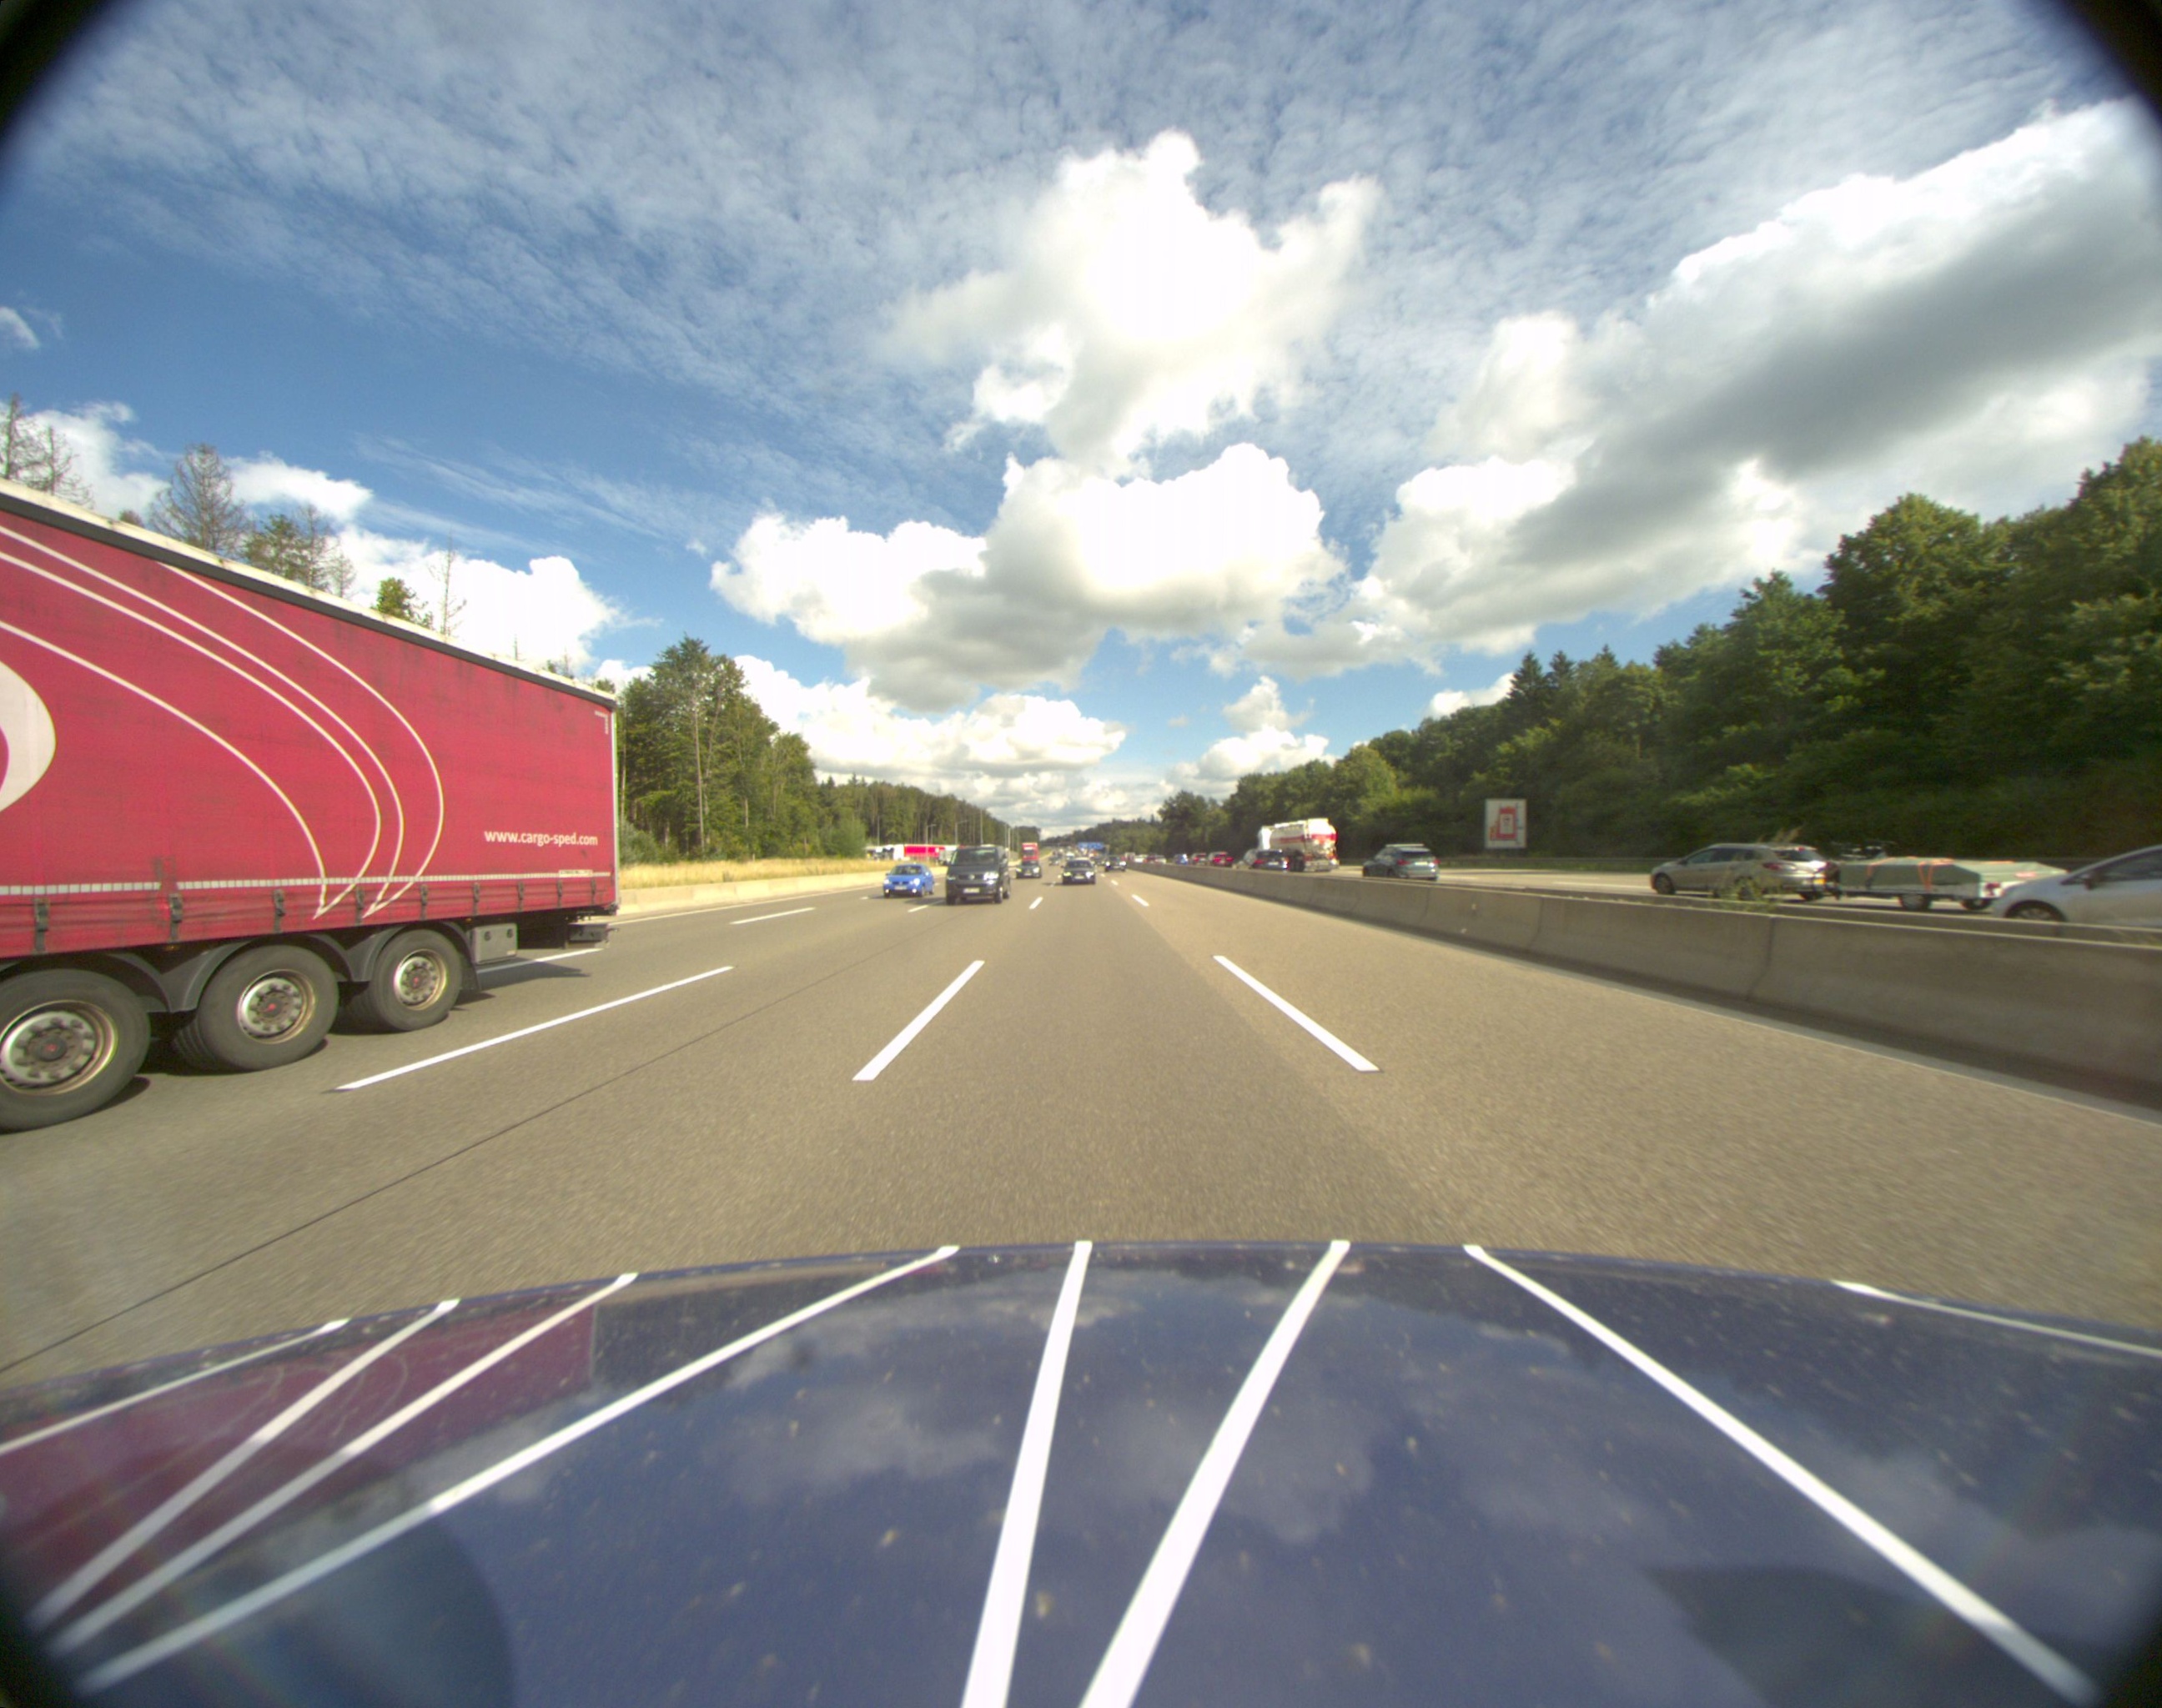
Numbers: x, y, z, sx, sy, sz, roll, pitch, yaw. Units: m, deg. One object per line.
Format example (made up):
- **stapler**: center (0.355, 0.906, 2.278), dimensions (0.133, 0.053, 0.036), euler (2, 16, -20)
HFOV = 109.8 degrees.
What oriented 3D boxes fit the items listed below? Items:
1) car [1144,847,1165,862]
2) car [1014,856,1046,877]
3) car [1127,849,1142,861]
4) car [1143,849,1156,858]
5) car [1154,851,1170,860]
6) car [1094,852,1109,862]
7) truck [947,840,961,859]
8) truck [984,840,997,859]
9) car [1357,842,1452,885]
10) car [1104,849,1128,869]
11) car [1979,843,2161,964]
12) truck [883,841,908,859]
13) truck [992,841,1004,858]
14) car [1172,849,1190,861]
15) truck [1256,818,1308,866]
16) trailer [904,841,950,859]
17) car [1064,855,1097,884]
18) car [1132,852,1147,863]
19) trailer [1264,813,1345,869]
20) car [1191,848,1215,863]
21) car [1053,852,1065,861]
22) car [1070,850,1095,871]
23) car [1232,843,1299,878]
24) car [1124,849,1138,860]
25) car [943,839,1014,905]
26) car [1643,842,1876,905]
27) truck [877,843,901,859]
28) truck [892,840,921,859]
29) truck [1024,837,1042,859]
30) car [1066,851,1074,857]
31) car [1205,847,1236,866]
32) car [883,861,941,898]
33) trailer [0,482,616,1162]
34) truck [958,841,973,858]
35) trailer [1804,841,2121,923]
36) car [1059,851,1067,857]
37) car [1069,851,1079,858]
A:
- **car**: center (9.473, 0.114, 98.313), dimensions (2.177, 1.867, 4.980), euler (0, 0, -1)
- **car**: center (-3.866, 0.924, 58.503), dimensions (2.153, 1.426, 5.098), euler (-2, 0, -1)
- **car**: center (9.085, 0.159, 129.269), dimensions (2.177, 1.790, 4.875), euler (-2, 0, -1)
- **car**: center (13.049, -0.065, 145.576), dimensions (1.999, 1.794, 5.125), euler (0, 0, -1)
- **car**: center (13.020, 0.222, 122.739), dimensions (1.999, 1.476, 5.131), euler (-2, 0, -1)
- **car**: center (3.130, 0.492, 118.248), dimensions (2.153, 1.540, 4.676), euler (-2, 0, -1)
- **truck**: center (-29.197, -1.024, 175.060), dimensions (2.880, 4.480, 7.172), euler (0, 0, -7)
- **truck**: center (-23.157, -1.146, 194.046), dimensions (2.661, 4.896, 6.984), euler (0, 0, -1)
- **car**: center (13.763, 0.365, 32.704), dimensions (1.999, 1.654, 4.686), euler (-2, 0, -1)
- **car**: center (3.362, 0.490, 73.906), dimensions (2.153, 1.800, 5.099), euler (-2, 1, 1)
- **car**: center (13.542, 0.579, 8.794), dimensions (1.607, 1.395, 4.000), euler (-2, 0, 1)
- **truck**: center (-45.926, -0.985, 188.455), dimensions (2.888, 4.482, 5.133), euler (0, 1, 45)
- **truck**: center (-23.456, -1.298, 215.739), dimensions (2.661, 4.896, 7.260), euler (0, 0, -1)
- **car**: center (13.197, 0.138, 100.307), dimensions (1.633, 1.503, 3.998), euler (-1, 0, -3)
- **truck**: center (17.573, -1.018, 66.881), dimensions (2.795, 3.922, 6.445), euler (-2, 0, 0)
- **trailer**: center (-38.468, -1.080, 190.422), dimensions (11.406, 4.348, 2.837), euler (-2, 1, -44)
- **car**: center (-0.015, 0.819, 43.037), dimensions (1.733, 1.500, 4.727), euler (-2, 0, 0)
- **car**: center (9.280, 0.578, 121.095), dimensions (1.918, 1.631, 4.241), euler (-2, 0, -1)
- **trailer**: center (17.556, -0.945, 60.808), dimensions (2.795, 3.922, 12.252), euler (-2, 0, 0)
- **car**: center (13.975, 0.194, 87.297), dimensions (1.864, 1.610, 4.747), euler (-2, 0, -1)
- **car**: center (-4.202, 0.454, 144.784), dimensions (2.153, 1.540, 4.676), euler (-1, 0, -1)
- **car**: center (0.212, 0.588, 69.861), dimensions (2.152, 1.800, 5.099), euler (-2, 1, 1)
- **car**: center (9.704, 0.306, 40.442), dimensions (2.160, 1.690, 5.350), euler (-2, 0, -1)
- **car**: center (9.200, 0.091, 140.933), dimensions (2.165, 2.002, 5.821), euler (0, 0, -1)
- **car**: center (-3.592, 0.593, 27.587), dimensions (1.854, 2.097, 4.932), euler (-2, 0, 0)
- **car**: center (17.379, 0.448, 19.854), dimensions (1.832, 1.406, 4.674), euler (-2, 0, -1)
- **truck**: center (-48.211, -0.791, 190.672), dimensions (5.181, 4.093, 2.565), euler (-1, 1, -45)
- **truck**: center (-42.747, -1.027, 186.207), dimensions (6.109, 4.481, 2.873), euler (-2, 1, -45)
- **truck**: center (-8.451, -1.039, 134.302), dimensions (3.018, 3.662, 7.558), euler (-1, 0, -3)
- **car**: center (-2.875, -0.052, 198.923), dimensions (2.153, 1.540, 4.676), euler (-1, 0, -1)
- **car**: center (13.191, 0.249, 72.093), dimensions (1.860, 1.660, 5.210), euler (-2, 0, -1)
- **car**: center (-7.289, 1.074, 33.135), dimensions (1.654, 1.433, 3.999), euler (-2, 0, -1)
- **trailer**: center (-7.788, -0.166, 3.397), dimensions (2.781, 4.021, 13.713), euler (-2, 0, 0)
- **truck**: center (-30.303, -1.169, 199.322), dimensions (2.879, 4.480, 7.035), euler (-1, 0, -1)
- **trailer**: center (17.449, 0.485, 15.416), dimensions (1.538, 1.394, 4.179), euler (-2, 0, -1)
- **car**: center (-5.208, -0.025, 217.862), dimensions (2.153, 1.540, 4.676), euler (-1, 0, -1)
- **car**: center (-1.455, 0.133, 163.709), dimensions (2.153, 1.540, 4.676), euler (-1, 0, -1)
